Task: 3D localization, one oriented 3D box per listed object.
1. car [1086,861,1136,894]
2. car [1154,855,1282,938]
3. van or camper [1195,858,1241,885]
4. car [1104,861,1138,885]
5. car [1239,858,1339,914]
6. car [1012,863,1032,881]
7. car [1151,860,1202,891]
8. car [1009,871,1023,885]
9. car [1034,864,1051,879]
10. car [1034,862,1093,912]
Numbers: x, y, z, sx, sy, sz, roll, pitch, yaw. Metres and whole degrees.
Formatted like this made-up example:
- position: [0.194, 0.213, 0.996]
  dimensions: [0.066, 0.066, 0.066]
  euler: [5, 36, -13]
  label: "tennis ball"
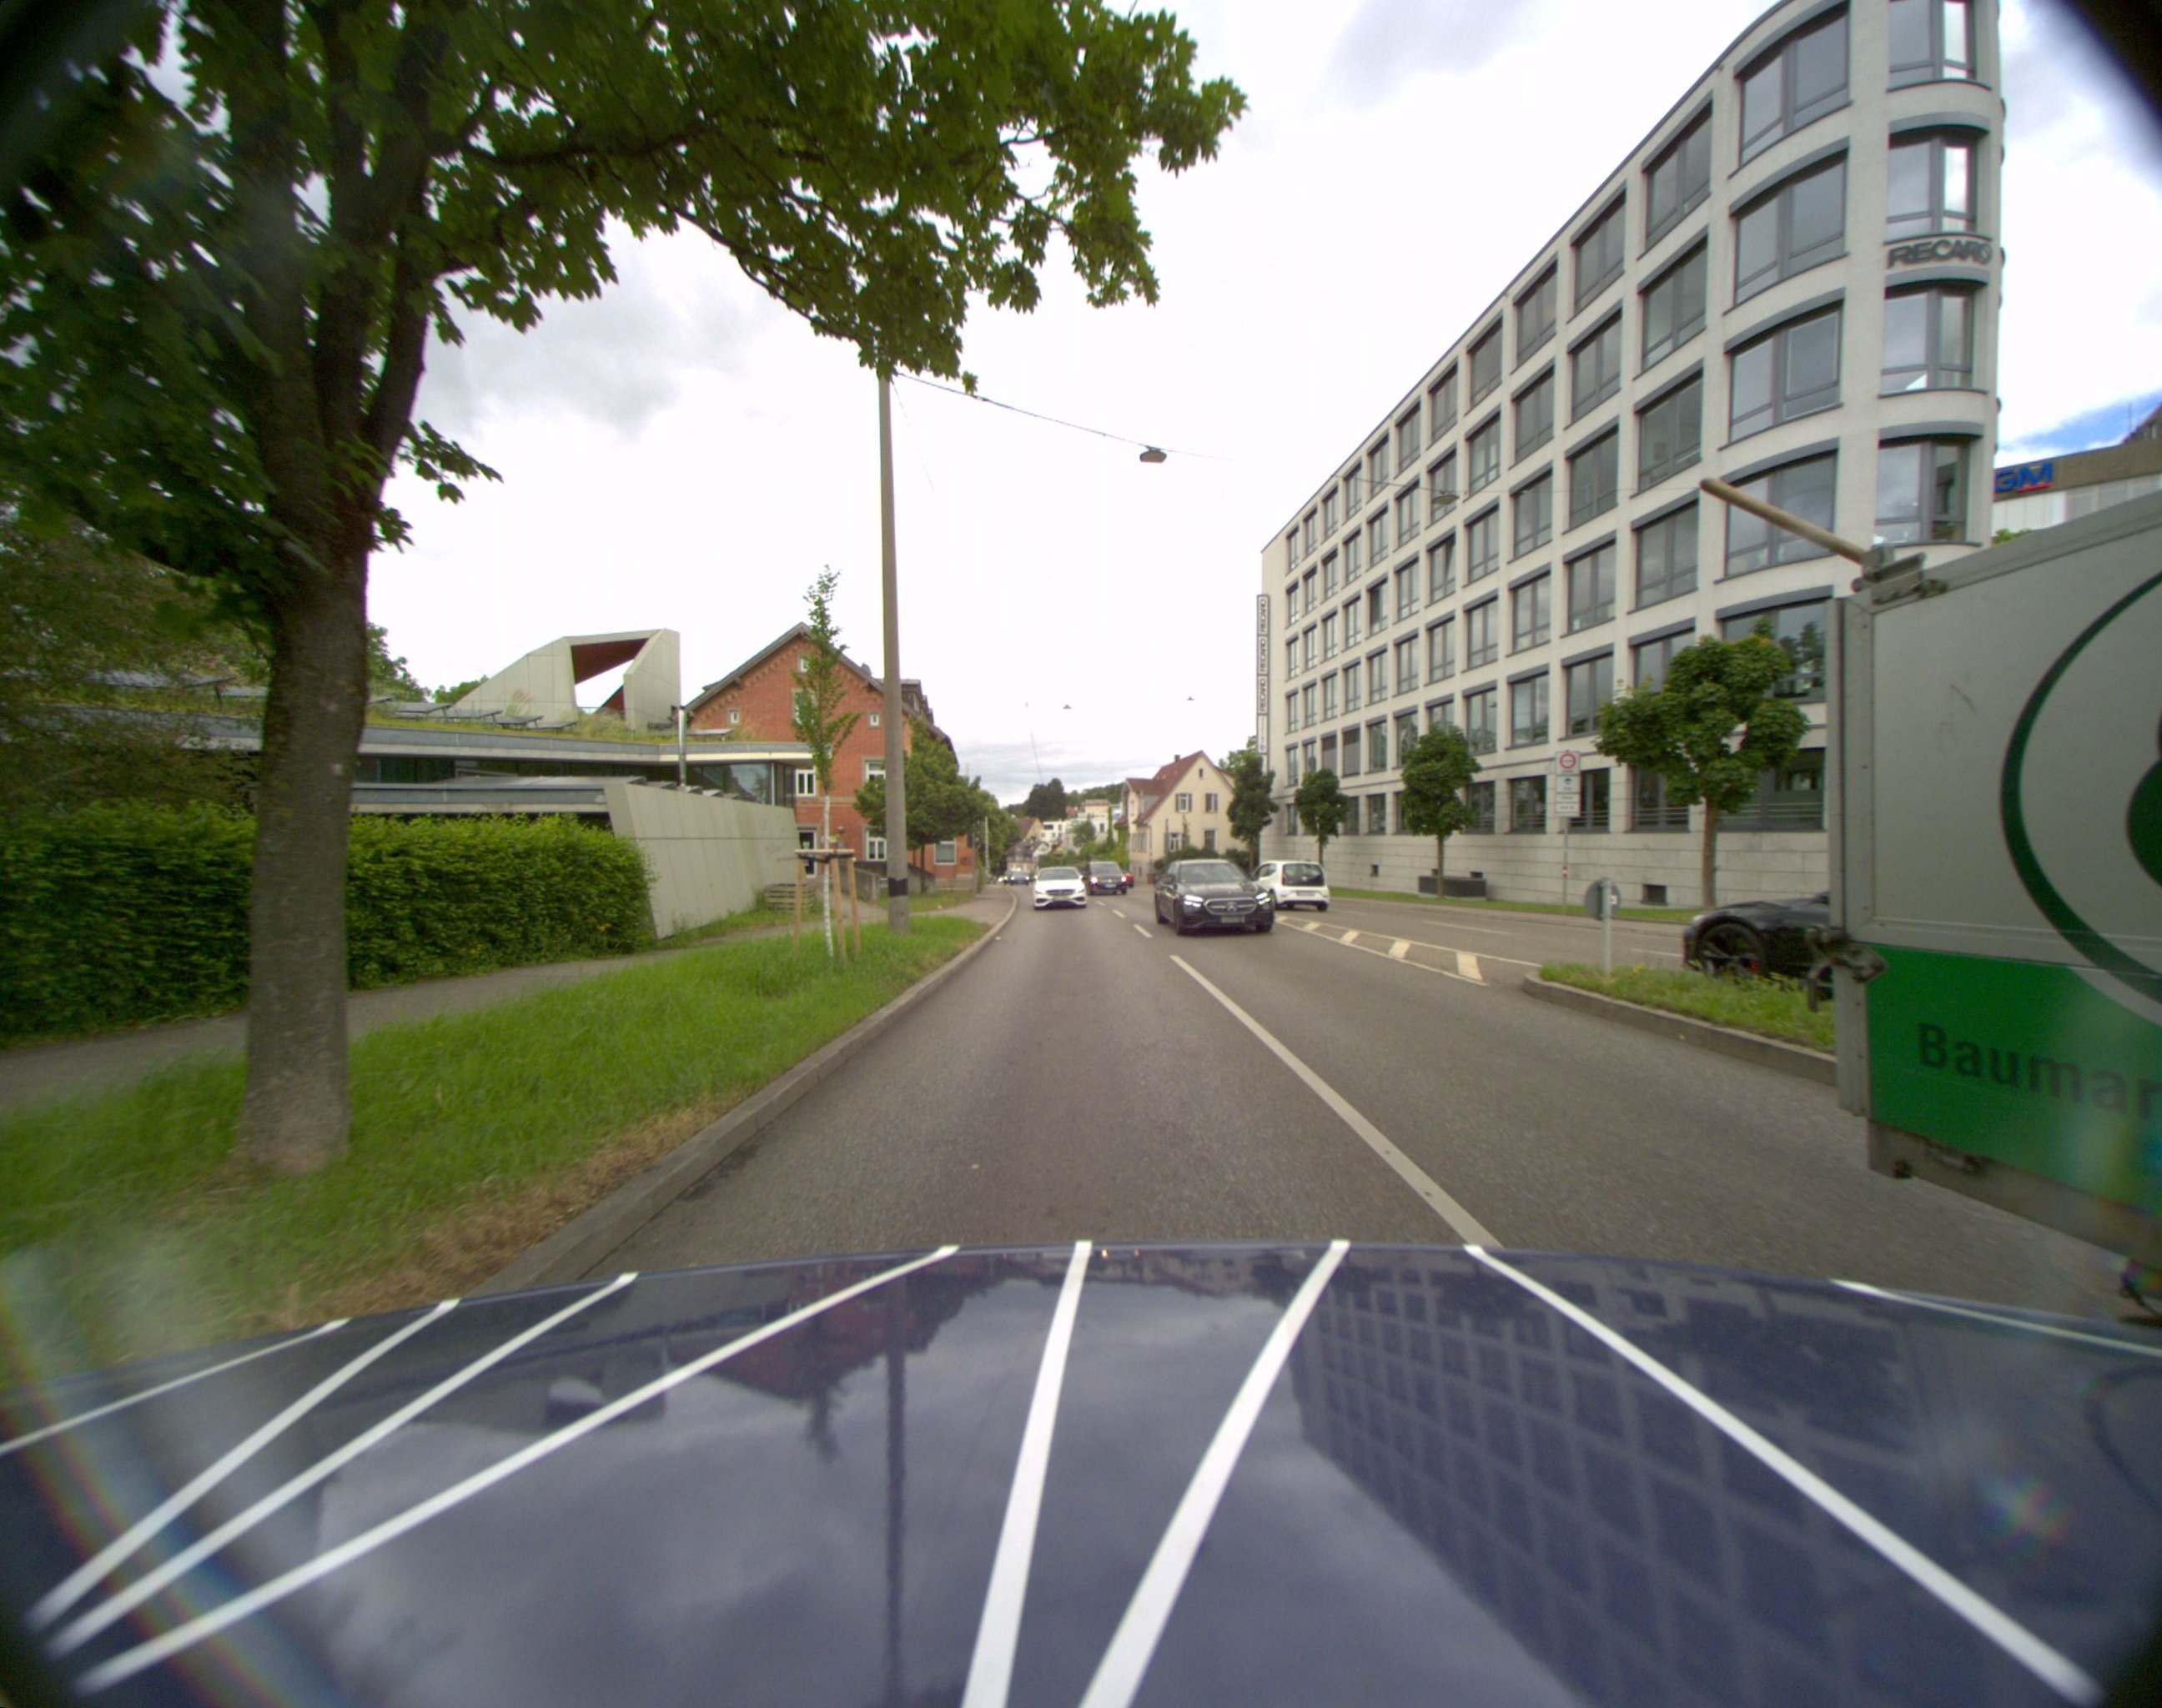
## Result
- position: [1.419, 1.136, 37.537]
  dimensions: [1.879, 1.520, 3.999]
  euler: [-1, -1, -6]
  label: "car"
- position: [2.784, 0.851, 16.439]
  dimensions: [1.878, 1.520, 4.336]
  euler: [-1, -1, -1]
  label: "car"
- position: [10.072, 1.312, 56.392]
  dimensions: [2.066, 1.956, 4.871]
  euler: [0, -2, -6]
  label: "van or camper"
- position: [2.809, 1.351, 53.994]
  dimensions: [1.776, 1.561, 4.283]
  euler: [2, -1, -5]
  label: "car"
- position: [6.257, 0.910, 23.340]
  dimensions: [1.782, 1.556, 3.999]
  euler: [-1, 0, -3]
  label: "car"
- position: [-5.842, 1.722, 74.977]
  dimensions: [1.713, 1.680, 3.790]
  euler: [-1, 0, -8]
  label: "car"
- position: [4.662, 1.024, 37.600]
  dimensions: [1.782, 1.472, 3.979]
  euler: [-1, 0, -3]
  label: "car"
- position: [-8.456, 3.050, 98.704]
  dimensions: [1.713, 1.680, 3.790]
  euler: [-1, 0, -8]
  label: "car"
- position: [-4.657, 2.047, 91.099]
  dimensions: [1.713, 1.680, 3.790]
  euler: [-1, 0, -8]
  label: "car"
- position: [-0.685, 1.111, 27.023]
  dimensions: [1.810, 1.521, 3.998]
  euler: [-4, 0, -4]
  label: "car"
